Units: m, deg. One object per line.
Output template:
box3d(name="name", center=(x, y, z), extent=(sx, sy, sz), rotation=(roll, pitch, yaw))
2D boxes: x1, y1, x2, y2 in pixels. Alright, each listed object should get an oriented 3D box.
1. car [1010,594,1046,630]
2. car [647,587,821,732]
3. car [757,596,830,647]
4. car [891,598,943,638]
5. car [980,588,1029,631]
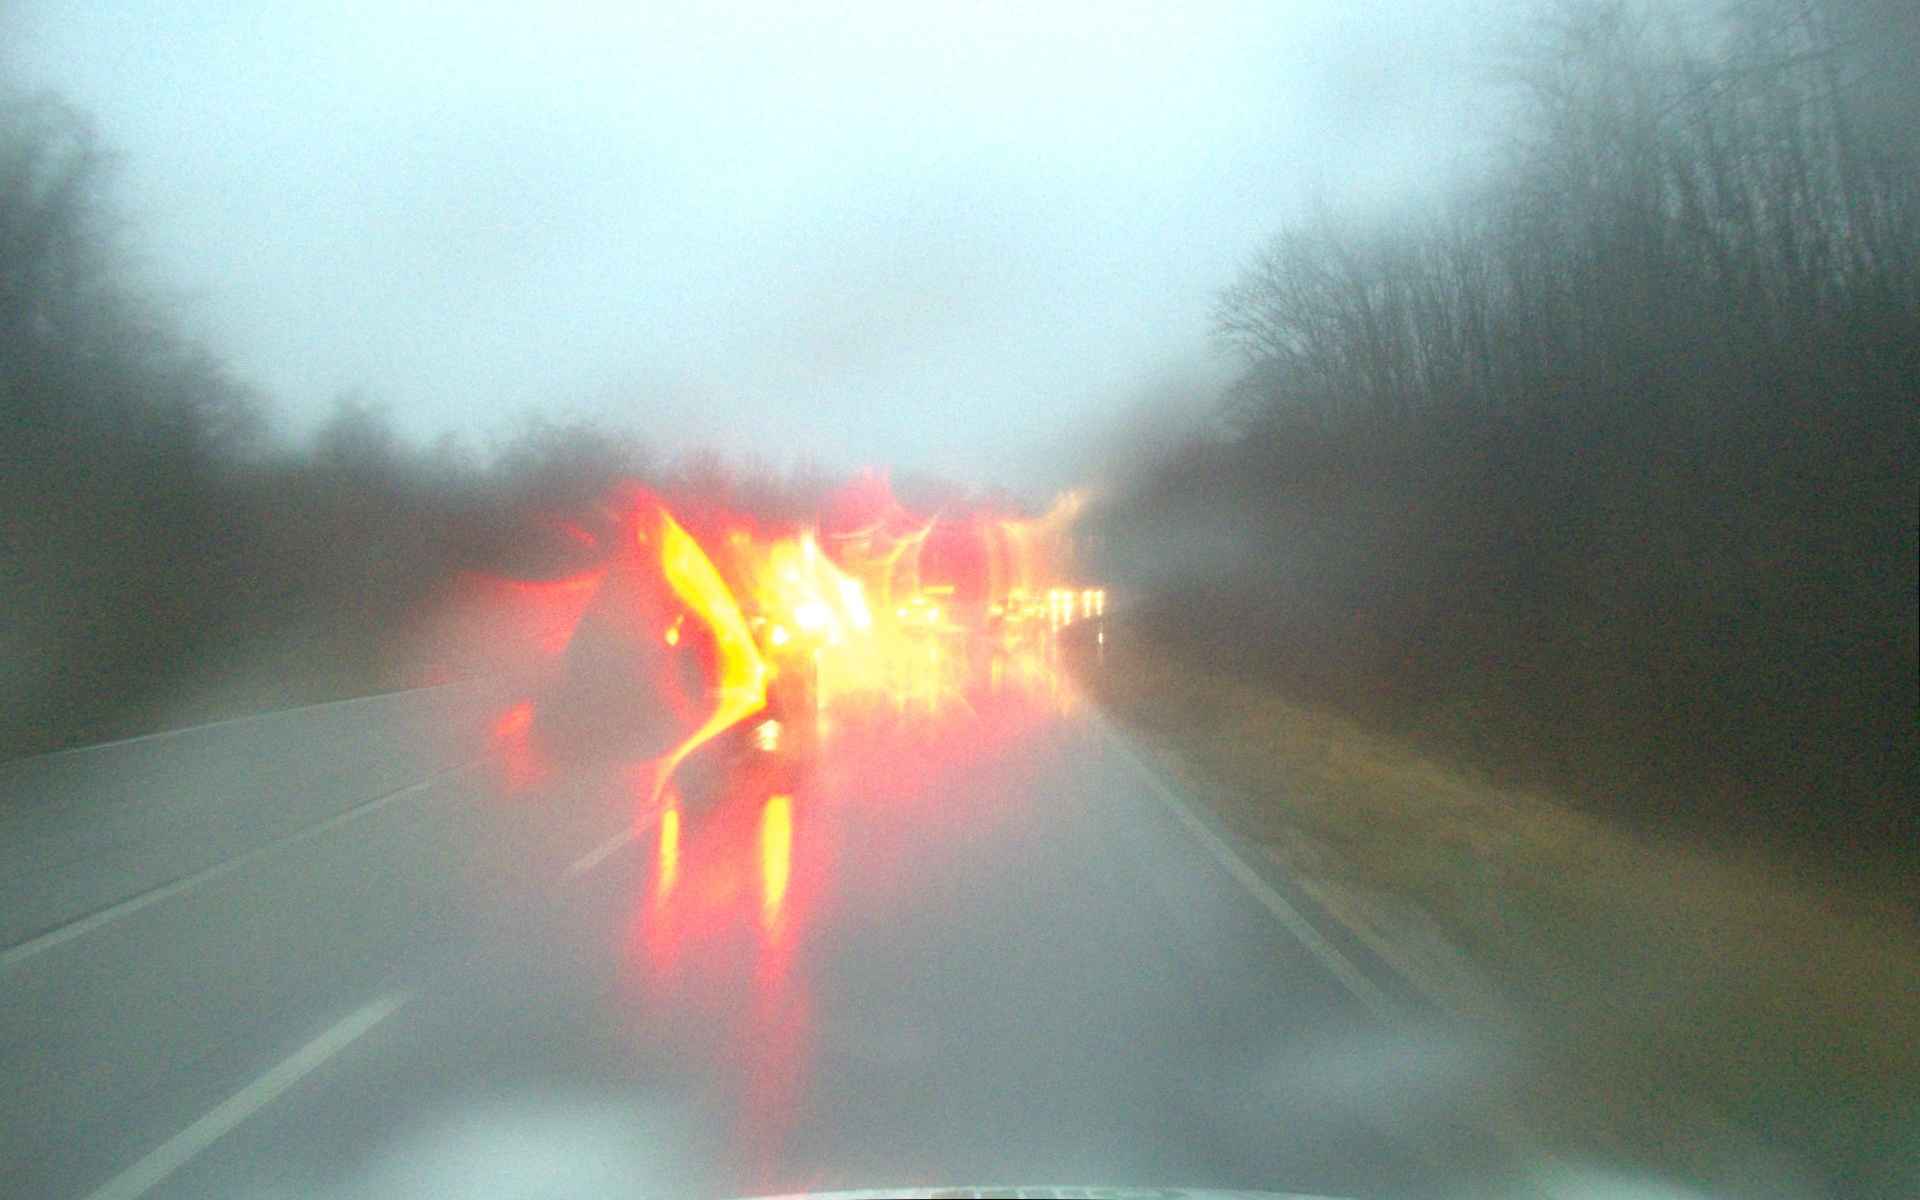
box3d(name="car", center=(3.383, 0.581, 81.967), extent=(1.643, 1.704, 4.101), rotation=(0, 1, 5))
box3d(name="car", center=(-2.516, 0.612, 19.277), extent=(1.599, 1.446, 4.169), rotation=(2, 0, -3))
box3d(name="car", center=(-5.807, 0.732, 58.193), extent=(1.952, 1.677, 4.723), rotation=(1, 0, 1))
box3d(name="car", center=(-1.766, 0.723, 69.197), extent=(1.964, 1.583, 4.517), rotation=(1, 0, 1))
box3d(name="car", center=(1.589, 0.304, 58.207), extent=(1.643, 1.414, 4.100), rotation=(0, 1, 3))
